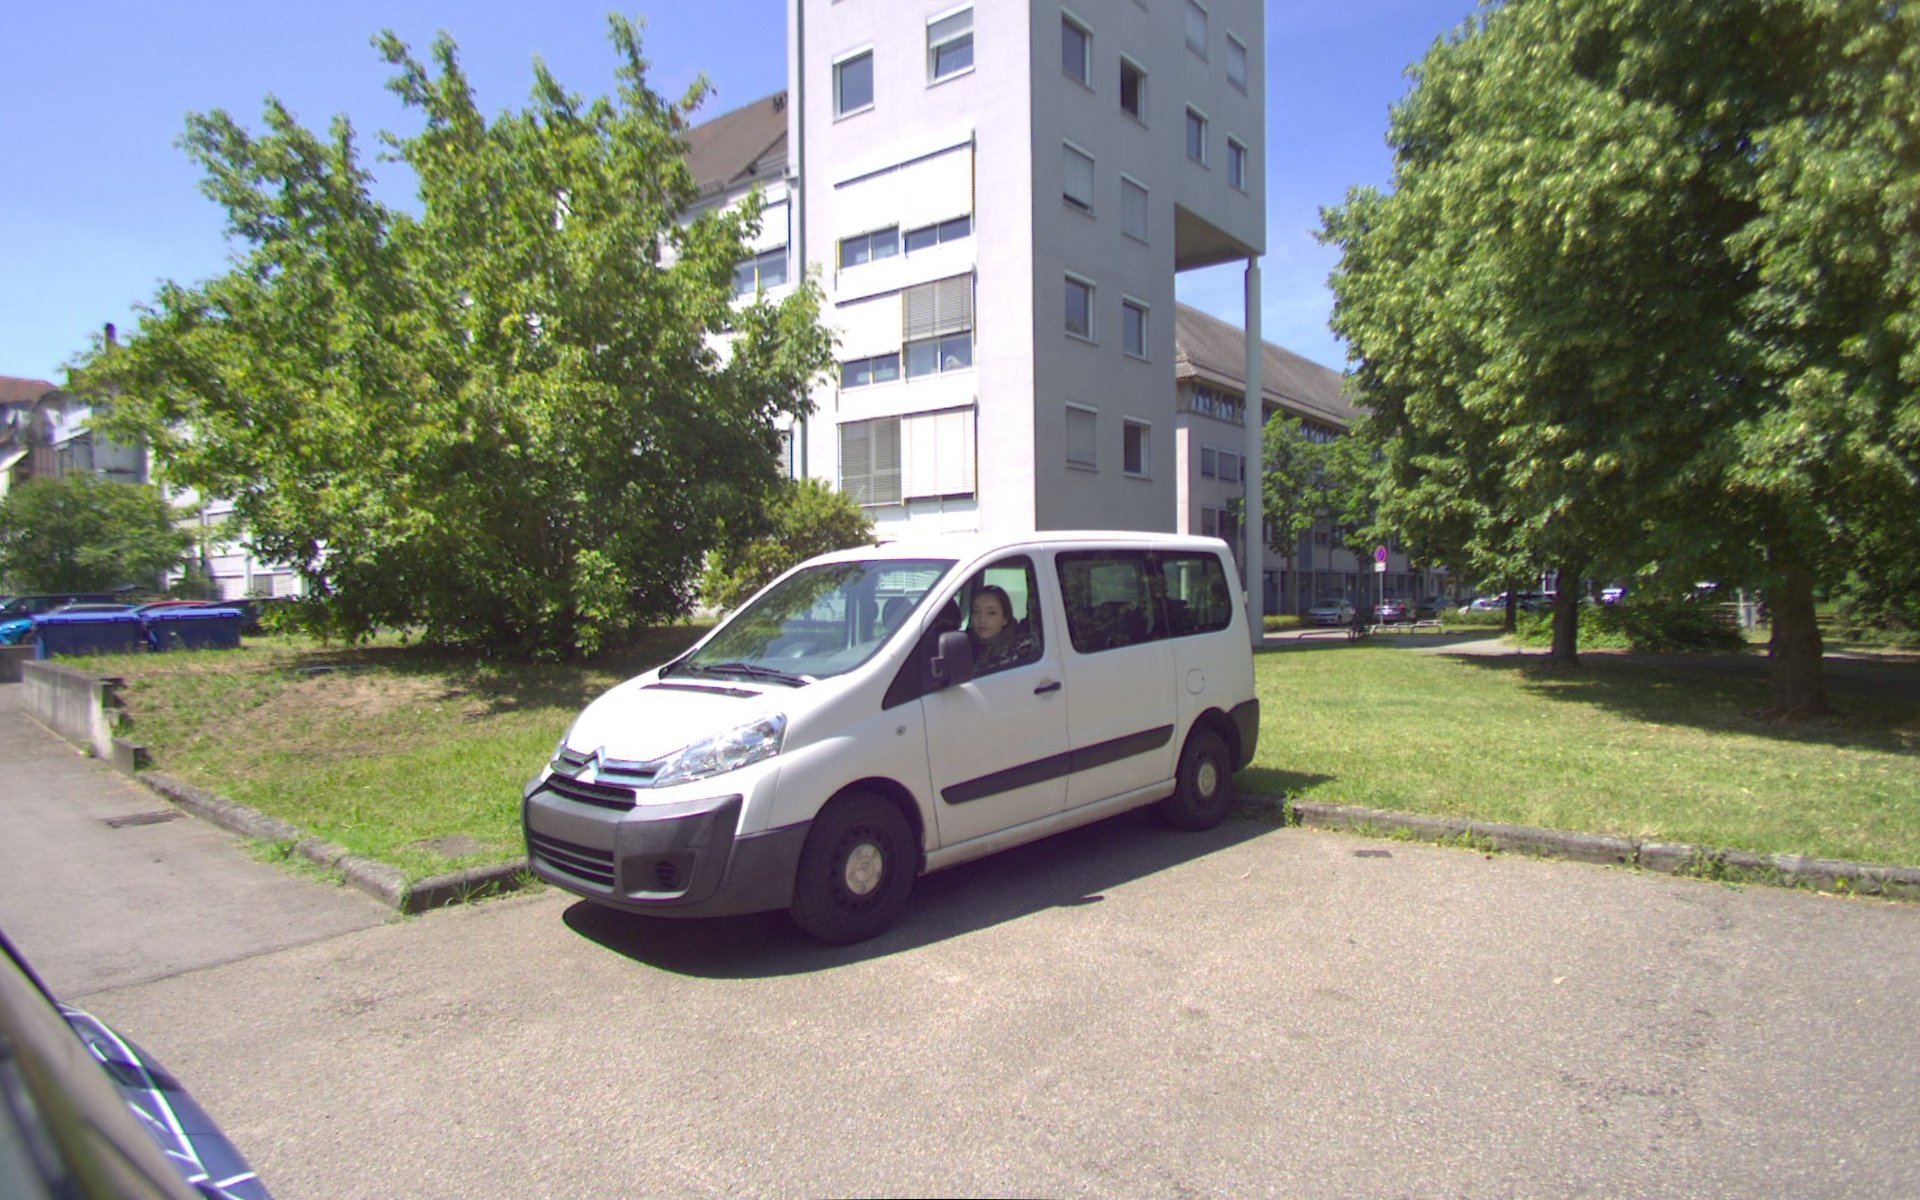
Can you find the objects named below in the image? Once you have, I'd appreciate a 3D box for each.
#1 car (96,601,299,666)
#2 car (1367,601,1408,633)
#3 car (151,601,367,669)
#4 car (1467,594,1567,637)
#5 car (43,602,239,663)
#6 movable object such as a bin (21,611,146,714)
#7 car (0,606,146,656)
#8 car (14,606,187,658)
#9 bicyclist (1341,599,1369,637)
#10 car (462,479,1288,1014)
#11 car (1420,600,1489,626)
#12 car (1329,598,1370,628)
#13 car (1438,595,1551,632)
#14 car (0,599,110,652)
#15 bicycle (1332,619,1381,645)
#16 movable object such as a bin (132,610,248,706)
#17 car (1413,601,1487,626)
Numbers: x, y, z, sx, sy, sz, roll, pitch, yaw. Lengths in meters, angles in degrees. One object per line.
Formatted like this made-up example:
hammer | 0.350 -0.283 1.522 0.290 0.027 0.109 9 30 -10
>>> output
car | -20.806 0.852 27.760 1.610 1.580 4.174 0 1 35
car | 22.937 0.868 54.244 1.799 1.615 3.860 0 0 26
car | -18.270 0.853 26.562 1.610 1.580 4.393 0 1 35
car | 27.088 0.718 49.255 3.996 2.029 1.974 0 0 39
car | -23.708 0.882 29.452 1.610 1.580 4.174 0 1 35
movable object such as a bin | -12.879 0.876 14.872 1.095 1.399 1.255 0 0 41
car | -31.335 1.037 35.413 1.610 1.580 4.174 0 1 35
car | -28.647 1.021 33.850 1.610 1.580 4.174 0 1 35
bicyclist | 10.987 0.502 28.134 0.518 1.053 0.515 -4 -3 43
car | -0.084 0.497 6.055 2.068 1.897 4.794 0 1 43
car | 32.717 0.816 67.006 3.890 1.643 1.515 0 0 39
car | 21.664 0.696 56.205 1.799 1.615 3.860 0 0 26
car | 24.535 0.601 46.537 4.337 1.622 1.908 0 1 39
car | -33.937 0.906 36.890 2.006 1.837 4.174 0 1 36
bicycle | 11.063 0.897 28.200 0.734 0.646 1.594 -4 -2 42
movable object such as a bin | -12.060 0.865 15.860 1.095 1.399 1.255 0 0 41
car | 31.255 0.822 64.609 3.996 1.541 1.723 0 1 39
